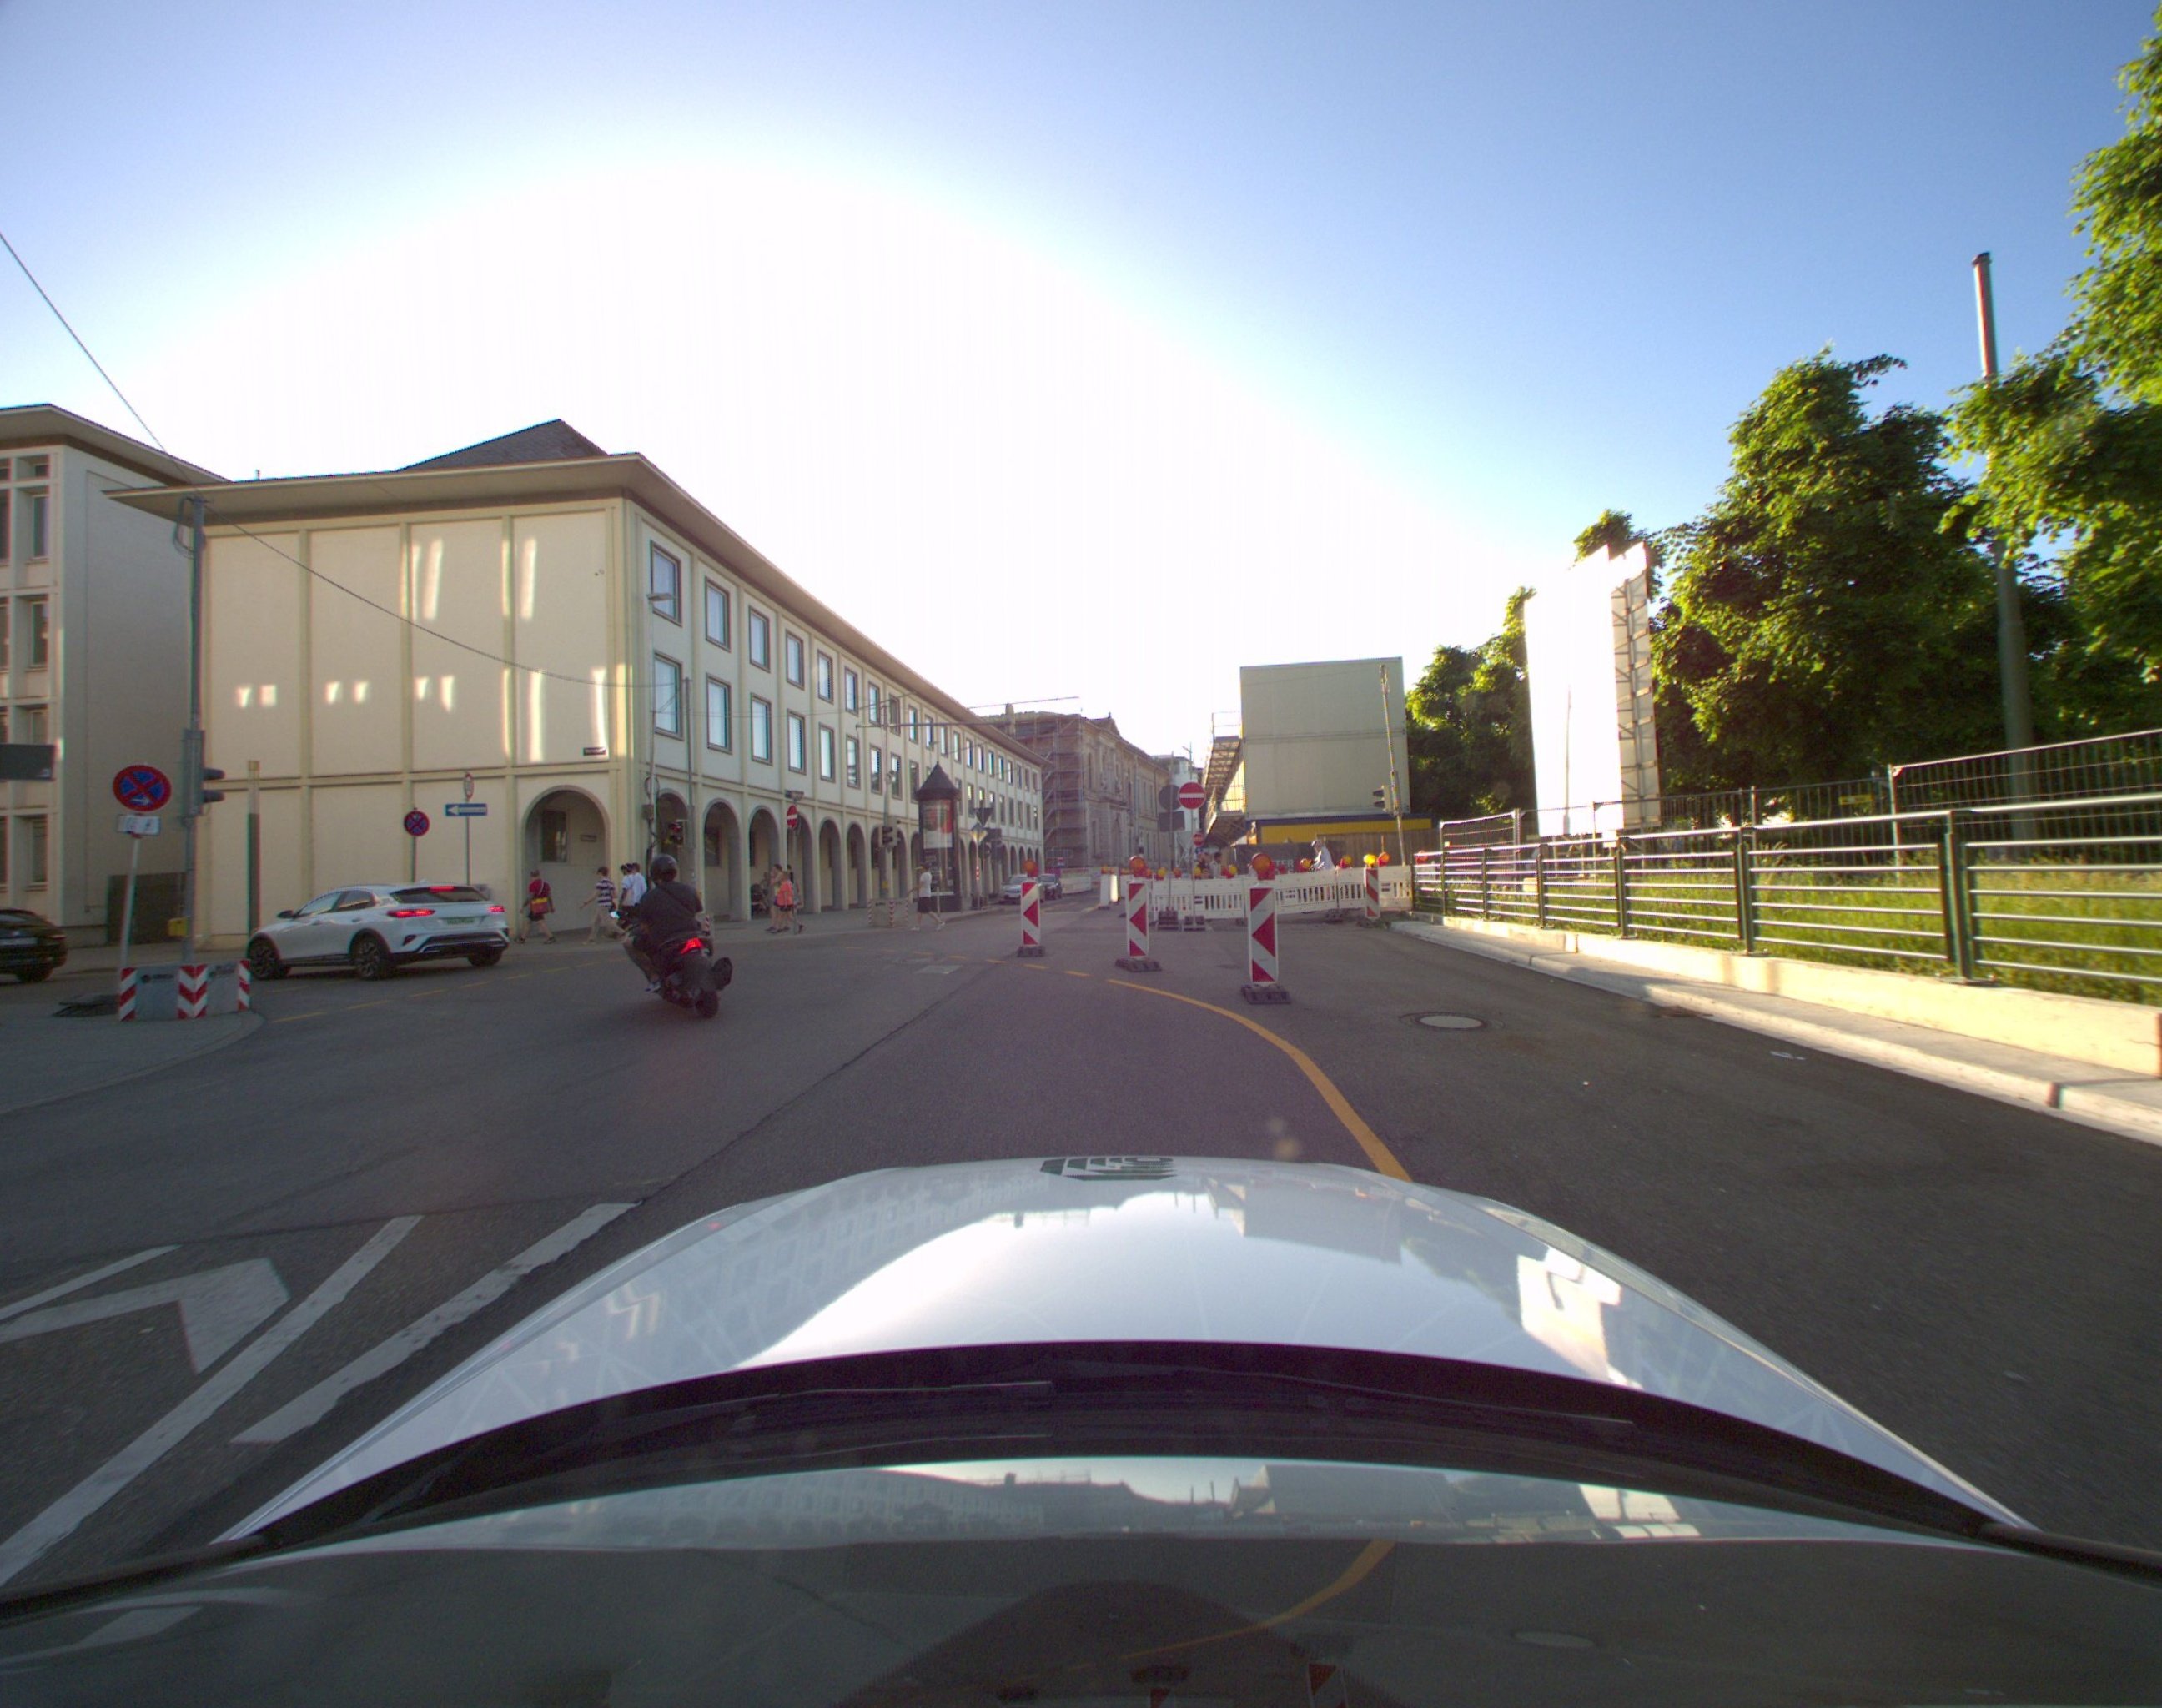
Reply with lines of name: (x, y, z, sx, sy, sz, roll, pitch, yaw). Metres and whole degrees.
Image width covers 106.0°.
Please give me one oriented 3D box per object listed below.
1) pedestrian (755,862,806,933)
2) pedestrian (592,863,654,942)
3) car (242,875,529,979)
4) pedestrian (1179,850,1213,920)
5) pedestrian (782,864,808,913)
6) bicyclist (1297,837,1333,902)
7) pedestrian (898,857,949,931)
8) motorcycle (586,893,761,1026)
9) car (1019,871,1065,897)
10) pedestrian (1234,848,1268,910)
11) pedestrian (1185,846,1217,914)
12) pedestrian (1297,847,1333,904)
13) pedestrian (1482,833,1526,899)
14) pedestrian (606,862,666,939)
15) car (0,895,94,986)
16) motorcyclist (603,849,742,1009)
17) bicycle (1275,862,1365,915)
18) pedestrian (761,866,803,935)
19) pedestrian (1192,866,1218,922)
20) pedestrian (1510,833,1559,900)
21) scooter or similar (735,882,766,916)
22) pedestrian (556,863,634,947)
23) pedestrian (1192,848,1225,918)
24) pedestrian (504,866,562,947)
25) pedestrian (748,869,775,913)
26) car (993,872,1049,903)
pedestrian: (-7.614, 1.092, 20.663, 0.960, 1.709, 0.676, -2, 1, 4)
pedestrian: (-10.827, 1.124, 19.273, 0.934, 1.777, 0.712, -2, 1, 4)
car: (-11.507, 1.190, 13.512, 3.953, 1.472, 1.875, -3, -1, 20)
pedestrian: (2.933, 0.781, 20.786, 0.733, 1.716, 0.623, -4, -1, 8)
pedestrian: (-11.186, 1.350, 31.842, 0.637, 1.840, 0.729, -2, 1, 8)
bicyclist: (5.623, 0.371, 19.594, 0.698, 1.516, 0.687, -2, -2, 6)
pedestrian: (-3.889, 0.972, 20.134, 0.970, 1.728, 0.799, -4, -2, 4)
motorcycle: (-4.494, 1.047, 8.856, 0.914, 1.183, 2.546, -2, -1, -45)
car: (-2.209, 1.754, 47.294, 1.913, 1.467, 4.009, -1, -3, 9)
pedestrian: (4.572, 0.662, 21.954, 0.764, 1.619, 0.667, -4, -1, 8)
pedestrian: (3.241, 0.707, 22.072, 0.733, 1.771, 0.725, -4, -1, 8)
pedestrian: (6.266, 0.572, 21.845, 0.764, 1.462, 0.667, -4, -1, 8)
pedestrian: (10.641, 0.296, 20.506, 0.733, 1.604, 0.645, -4, -1, 8)
pedestrian: (-10.834, 1.112, 19.849, 0.934, 1.777, 0.712, -2, 1, 4)
car: (-21.071, 1.643, 15.020, 4.069, 1.550, 1.784, -2, -1, 9)
motorcyclist: (-4.428, 0.754, 8.805, 1.223, 1.559, 0.963, -3, -1, 45)
bicycle: (5.721, 0.818, 19.578, 1.981, 1.201, 0.478, -2, -2, 7)
pedestrian: (-7.368, 1.132, 20.075, 0.721, 1.624, 0.621, -2, 1, 4)
pedestrian: (2.966, 0.950, 19.508, 0.615, 1.300, 0.495, 0, -1, 7)
pedestrian: (11.148, 0.308, 20.015, 0.746, 1.566, 0.660, -3, -1, -26)
scooter or similar: (-12.425, 1.680, 30.633, 0.614, 1.157, 0.960, -2, 1, 8)
pedestrian: (-11.109, 1.152, 18.640, 1.237, 1.801, 0.717, -2, 1, 4)
pedestrian: (3.340, 0.743, 21.336, 0.733, 1.771, 0.623, -4, -1, 8)
pedestrian: (-12.799, 1.223, 19.033, 0.769, 1.801, 0.712, -2, 1, 4)
pedestrian: (-12.338, 1.428, 31.471, 0.614, 1.624, 0.729, -2, 1, 8)
car: (-2.954, 1.678, 40.842, 1.913, 1.467, 4.009, -1, -3, 9)
